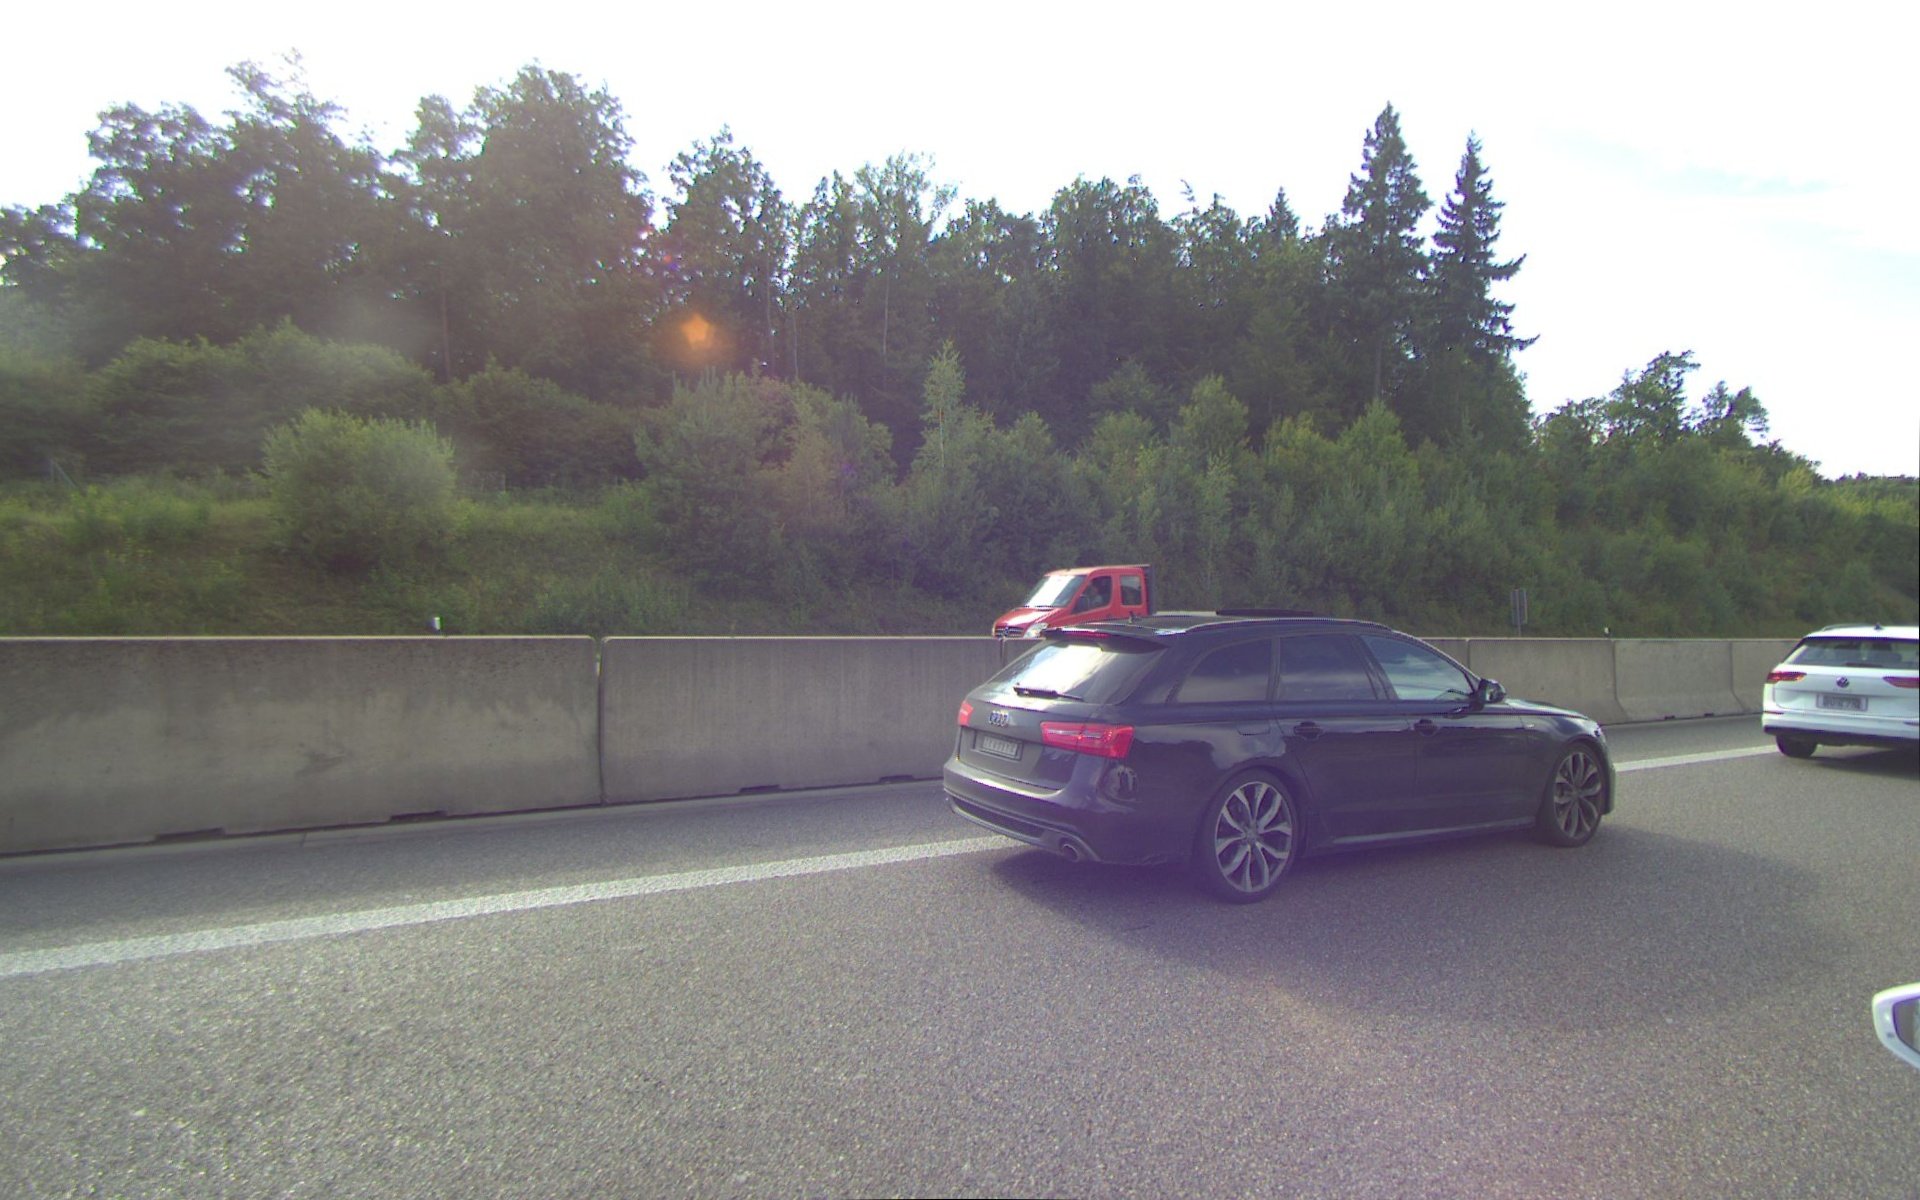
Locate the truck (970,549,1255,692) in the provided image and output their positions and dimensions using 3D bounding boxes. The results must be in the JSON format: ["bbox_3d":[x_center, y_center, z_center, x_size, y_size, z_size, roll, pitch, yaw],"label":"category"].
[{"bbox_3d":[3.582,0.469,23.041,6.355,2.893,2.411,1,0,-31],"label":"truck"}]

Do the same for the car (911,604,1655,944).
[{"bbox_3d":[2.191,0.811,6.392,4.691,1.475,1.834,1,0,-30],"label":"car"}]

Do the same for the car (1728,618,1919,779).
[{"bbox_3d":[10.533,0.995,11.027,4.256,1.480,1.797,2,-1,-29],"label":"car"}]
